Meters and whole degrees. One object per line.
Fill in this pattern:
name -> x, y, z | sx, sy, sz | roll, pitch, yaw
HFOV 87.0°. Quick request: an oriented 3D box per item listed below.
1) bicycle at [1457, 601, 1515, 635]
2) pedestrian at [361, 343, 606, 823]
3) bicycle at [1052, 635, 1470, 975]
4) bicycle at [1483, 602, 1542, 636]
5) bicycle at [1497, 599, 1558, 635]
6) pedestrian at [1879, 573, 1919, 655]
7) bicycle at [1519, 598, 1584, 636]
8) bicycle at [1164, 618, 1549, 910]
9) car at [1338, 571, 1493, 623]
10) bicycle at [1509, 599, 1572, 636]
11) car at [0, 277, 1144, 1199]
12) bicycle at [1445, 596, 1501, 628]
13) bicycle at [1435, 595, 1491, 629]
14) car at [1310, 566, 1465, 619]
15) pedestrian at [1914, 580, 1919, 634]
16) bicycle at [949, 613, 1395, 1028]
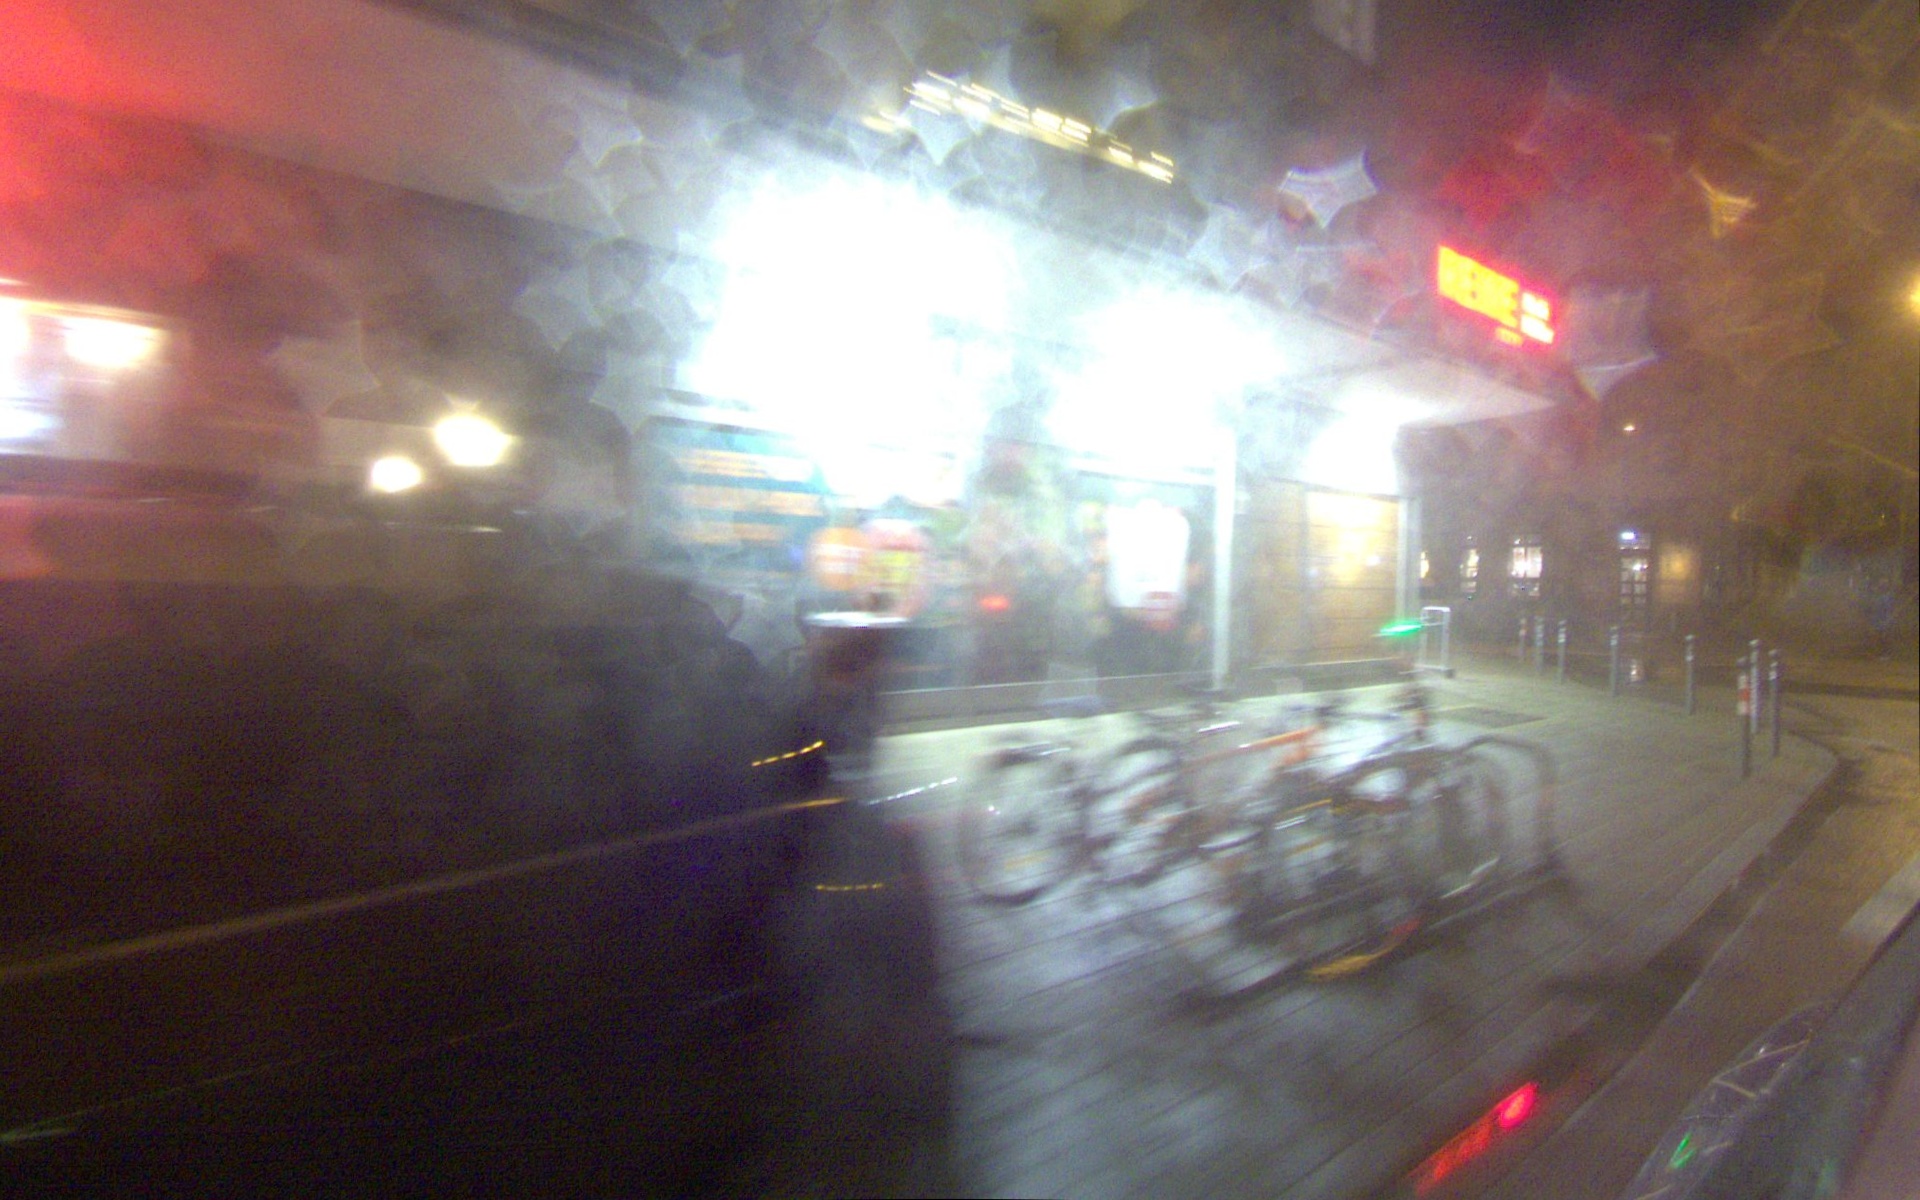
bicycle -> 16.691, 0.573, 32.097 | 1.772, 1.021, 0.404 | 2, 0, -14
pedestrian -> -2.574, -0.102, 5.430 | 0.952, 2.235, 1.057 | 0, 3, -39
bicycle -> 1.196, 0.754, 4.392 | 0.428, 1.092, 1.765 | 1, 1, -40
bicycle -> 16.820, 0.568, 30.811 | 1.772, 1.021, 0.404 | 0, 0, -14
bicycle -> 16.946, 0.514, 30.222 | 1.772, 1.021, 0.380 | 2, 0, -14
pedestrian -> 21.909, 0.322, 23.482 | 1.058, 1.856, 0.676 | 0, 0, -37
bicycle -> 16.959, 0.481, 29.019 | 1.772, 1.021, 0.456 | 2, 0, -14
bicycle -> 1.894, 0.709, 5.095 | 0.428, 1.139, 1.786 | 1, 2, -40
car -> 16.433, -0.108, 36.538 | 4.989, 1.785, 2.004 | 1, 0, -16
bicycle -> 17.032, 0.516, 29.688 | 1.772, 1.021, 0.404 | 2, 0, -14
car -> -1.750, 0.500, 1.312 | 4.082, 1.585, 1.756 | -1, 1, -41
bicycle -> 16.561, 0.373, 32.684 | 1.772, 1.021, 0.404 | 0, 0, -14
bicycle -> 16.504, 0.402, 33.225 | 1.740, 1.021, 0.404 | 2, 2, -14
car -> 16.434, -0.279, 38.944 | 5.431, 1.914, 2.004 | 1, 0, -16
pedestrian -> 33.147, 0.244, 34.334 | 0.793, 1.839, 0.793 | 0, 2, -14
bicycle -> 0.714, 0.713, 3.999 | 0.428, 1.138, 1.767 | 1, 5, -40
